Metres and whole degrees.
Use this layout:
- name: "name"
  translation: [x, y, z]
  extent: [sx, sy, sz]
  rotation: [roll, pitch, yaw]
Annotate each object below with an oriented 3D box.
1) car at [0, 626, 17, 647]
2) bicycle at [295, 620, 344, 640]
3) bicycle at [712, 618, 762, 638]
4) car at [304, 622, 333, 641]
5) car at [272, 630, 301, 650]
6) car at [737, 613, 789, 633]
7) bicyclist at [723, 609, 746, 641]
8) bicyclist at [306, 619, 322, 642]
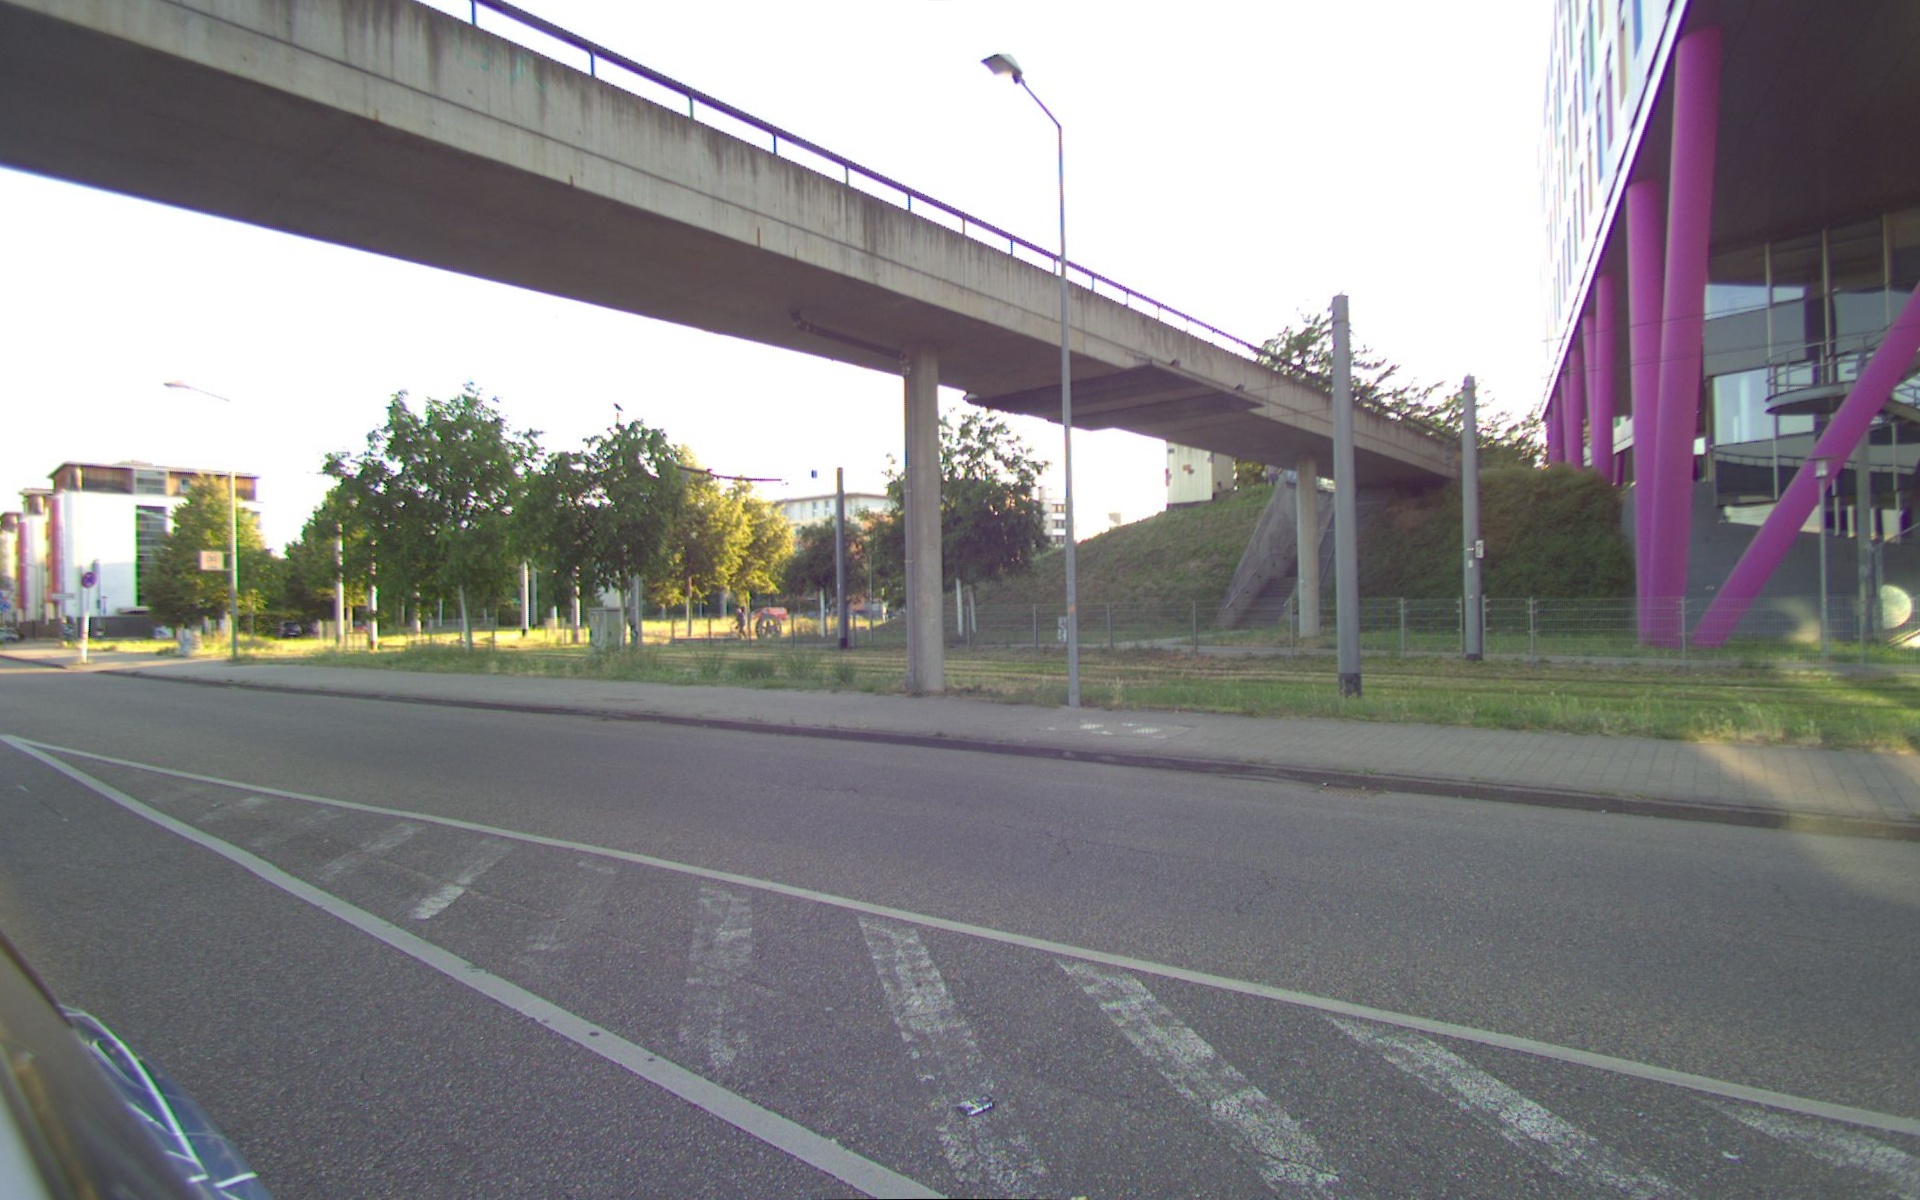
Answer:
- name: "car"
  translation: [-80.480, 3.051, 83.411]
  extent: [2.000, 1.741, 3.944]
  rotation: [-2, -1, 42]
- name: "bicycle"
  translation: [-51.471, 2.397, 81.367]
  extent: [3.264, 1.503, 0.890]
  rotation: [-1, -1, -29]
- name: "bicycle"
  translation: [-11.686, 1.457, 53.157]
  extent: [0.654, 1.016, 2.808]
  rotation: [-2, -1, 37]
- name: "car"
  translation: [-55.235, 2.729, 87.119]
  extent: [1.913, 1.541, 4.009]
  rotation: [-1, -1, -36]
- name: "car"
  translation: [-57.006, 3.367, 85.639]
  extent: [1.913, 1.541, 4.009]
  rotation: [-1, -1, -36]
- name: "car"
  translation: [-21.696, 2.518, 111.538]
  extent: [5.445, 2.029, 2.001]
  rotation: [0, -1, -45]
- name: "bicyclist"
  translation: [-11.840, 1.322, 53.206]
  extent: [0.716, 1.644, 0.899]
  rotation: [-2, -1, 35]
- name: "bicyclist"
  translation: [-51.770, 2.445, 81.151]
  extent: [1.016, 1.890, 0.886]
  rotation: [1, -2, -30]
